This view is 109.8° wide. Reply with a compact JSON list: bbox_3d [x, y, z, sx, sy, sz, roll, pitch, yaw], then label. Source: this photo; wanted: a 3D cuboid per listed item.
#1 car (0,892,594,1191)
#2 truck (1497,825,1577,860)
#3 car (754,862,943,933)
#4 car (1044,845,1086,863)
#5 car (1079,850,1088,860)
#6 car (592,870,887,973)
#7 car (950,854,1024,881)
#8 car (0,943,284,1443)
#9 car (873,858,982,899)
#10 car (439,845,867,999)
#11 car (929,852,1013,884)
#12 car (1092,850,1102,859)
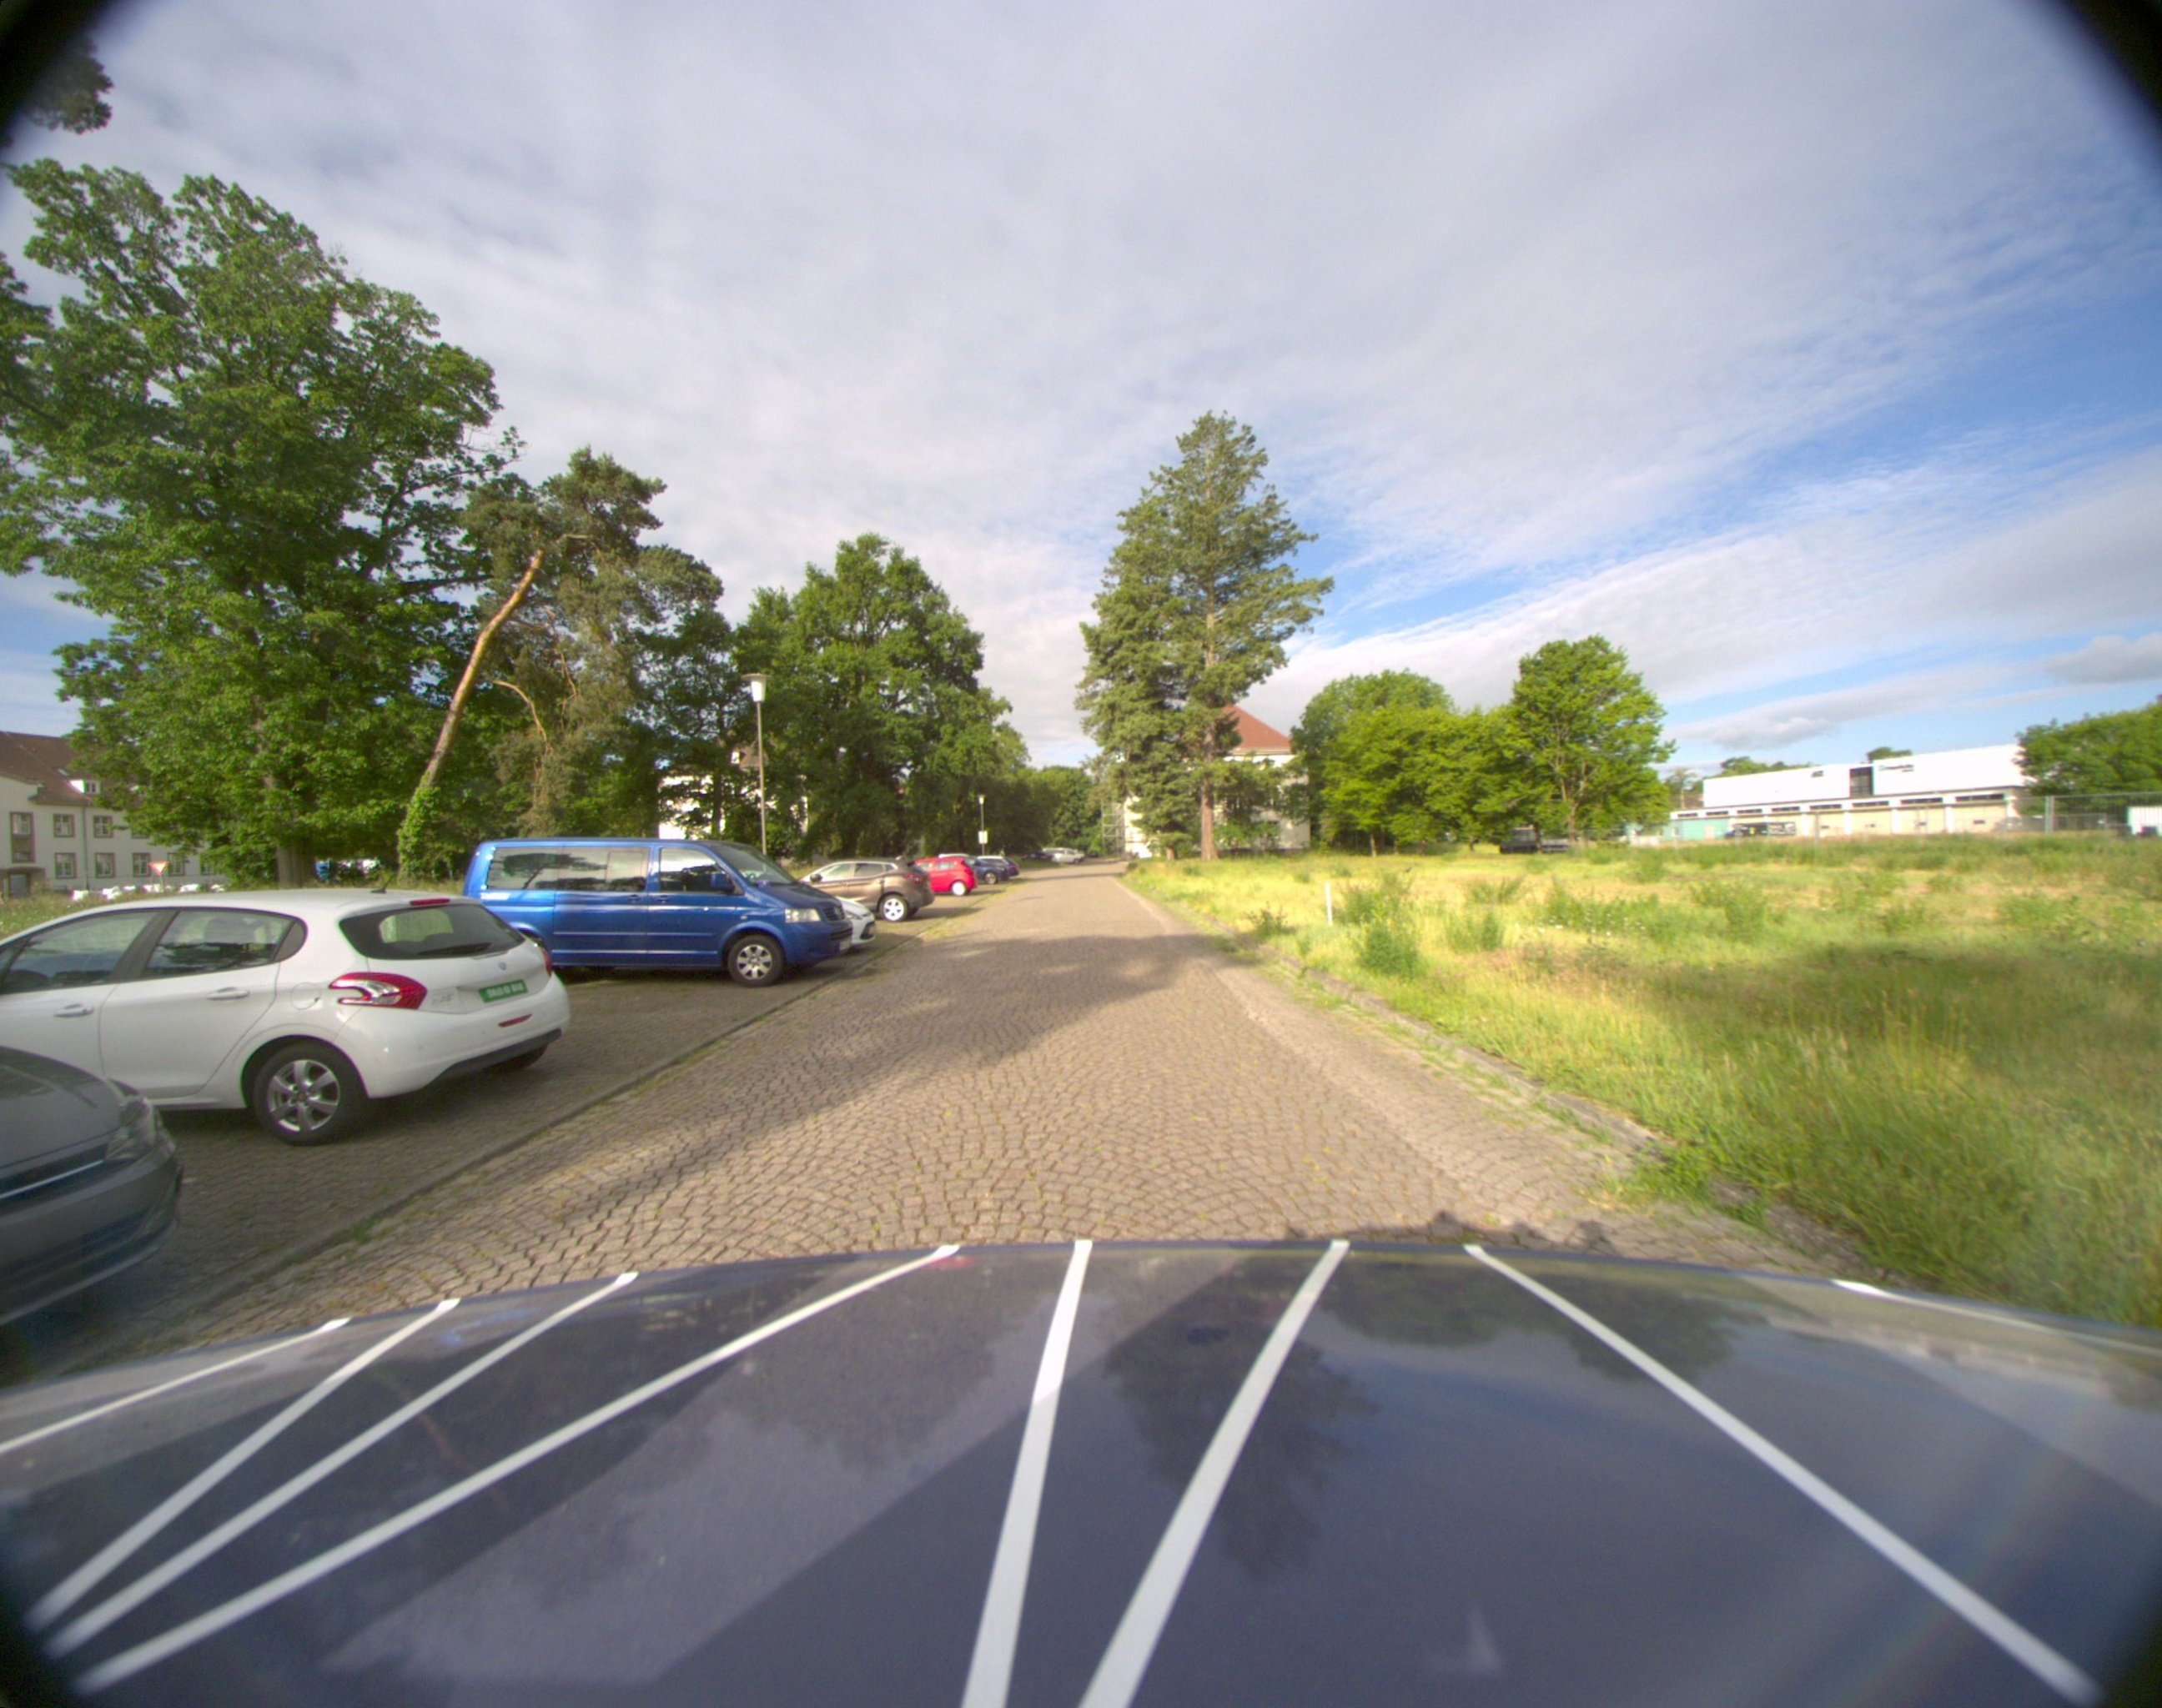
[{"bbox_3d":[-5.847,1.112,5.144,3.884,1.522,1.807,-1,1,0],"label":"car"},{"bbox_3d":[36.350,-0.896,60.919,2.417,2.572,6.959,-2,0,2],"label":"truck"},{"bbox_3d":[-5.793,1.055,19.364,4.201,1.580,1.877,-1,1,-1],"label":"car"},{"bbox_3d":[-1.952,-0.043,93.569,5.079,2.029,2.000,-2,0,-1],"label":"car"},{"bbox_3d":[0.551,0.135,159.681,1.874,1.888,3.999,-2,1,0],"label":"car"},{"bbox_3d":[-5.640,1.087,13.009,4.202,1.461,1.807,-1,1,-4],"label":"car"},{"bbox_3d":[-5.469,0.770,44.605,4.035,1.442,1.783,-1,1,2],"label":"car"},{"bbox_3d":[-5.384,1.155,2.290,3.961,1.459,1.830,-1,1,0],"label":"car"},{"bbox_3d":[-5.912,0.916,29.622,3.887,1.464,1.686,-1,1,-1],"label":"car"},{"bbox_3d":[-5.606,0.838,10.492,4.745,1.918,1.991,0,1,-1],"label":"car"},{"bbox_3d":[-5.748,0.725,39.905,4.136,1.560,1.746,-1,1,-1],"label":"car"},{"bbox_3d":[3.280,0.103,159.917,1.999,1.762,4.108,-2,1,0],"label":"car"}]
